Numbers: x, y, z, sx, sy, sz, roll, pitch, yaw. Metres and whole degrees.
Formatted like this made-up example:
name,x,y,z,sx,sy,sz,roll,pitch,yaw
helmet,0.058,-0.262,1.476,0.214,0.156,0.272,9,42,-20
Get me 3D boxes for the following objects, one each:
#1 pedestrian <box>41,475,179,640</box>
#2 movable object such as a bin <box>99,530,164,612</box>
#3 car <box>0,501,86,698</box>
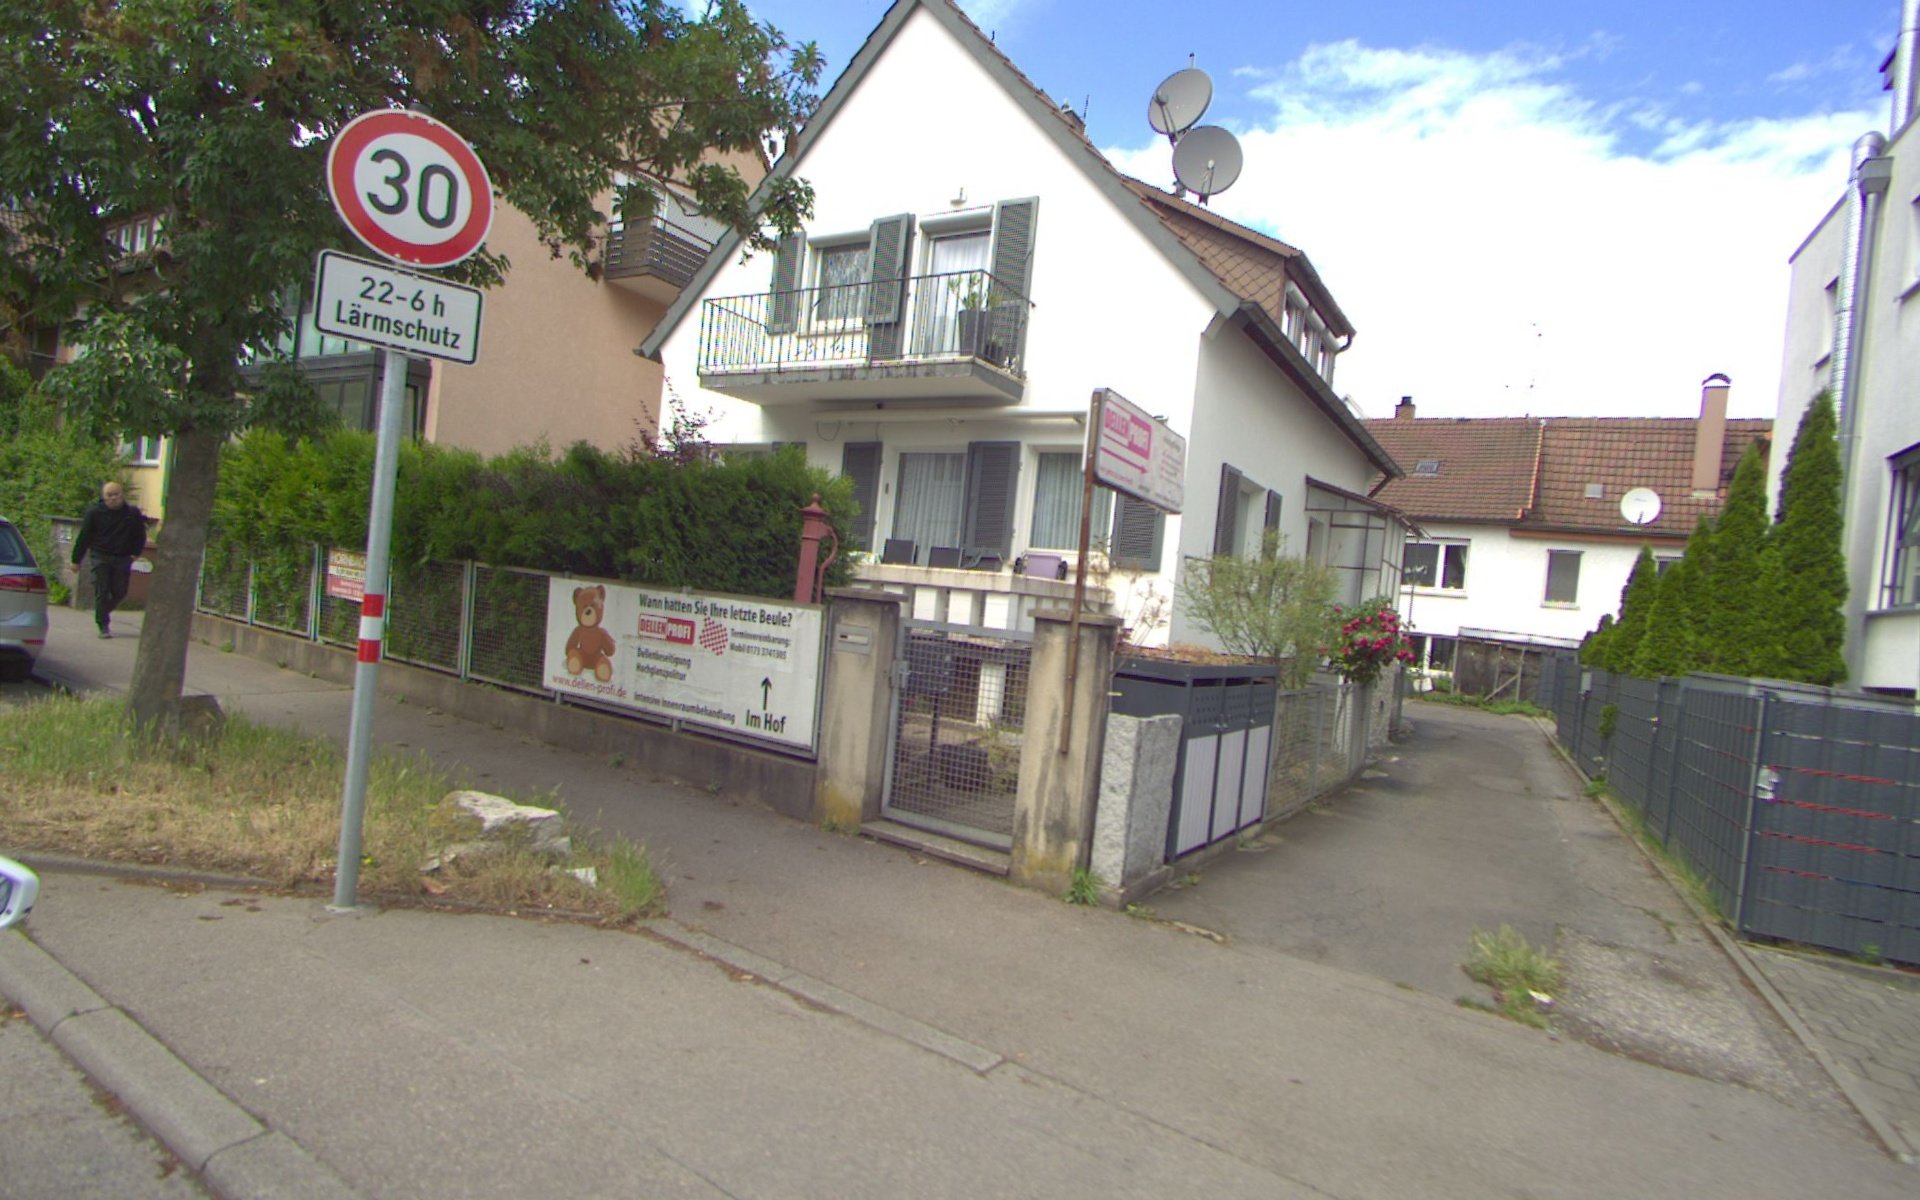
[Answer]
name,x,y,z,sx,sy,sz,roll,pitch,yaw
pedestrian,-9.689,-0.474,11.478,0.829,1.733,0.881,6,-1,34
movable object such as a bin,-11.964,-0.415,14.526,0.595,1.093,0.523,6,-1,38
car,-9.575,-0.279,8.681,4.793,1.498,1.704,7,-2,33
